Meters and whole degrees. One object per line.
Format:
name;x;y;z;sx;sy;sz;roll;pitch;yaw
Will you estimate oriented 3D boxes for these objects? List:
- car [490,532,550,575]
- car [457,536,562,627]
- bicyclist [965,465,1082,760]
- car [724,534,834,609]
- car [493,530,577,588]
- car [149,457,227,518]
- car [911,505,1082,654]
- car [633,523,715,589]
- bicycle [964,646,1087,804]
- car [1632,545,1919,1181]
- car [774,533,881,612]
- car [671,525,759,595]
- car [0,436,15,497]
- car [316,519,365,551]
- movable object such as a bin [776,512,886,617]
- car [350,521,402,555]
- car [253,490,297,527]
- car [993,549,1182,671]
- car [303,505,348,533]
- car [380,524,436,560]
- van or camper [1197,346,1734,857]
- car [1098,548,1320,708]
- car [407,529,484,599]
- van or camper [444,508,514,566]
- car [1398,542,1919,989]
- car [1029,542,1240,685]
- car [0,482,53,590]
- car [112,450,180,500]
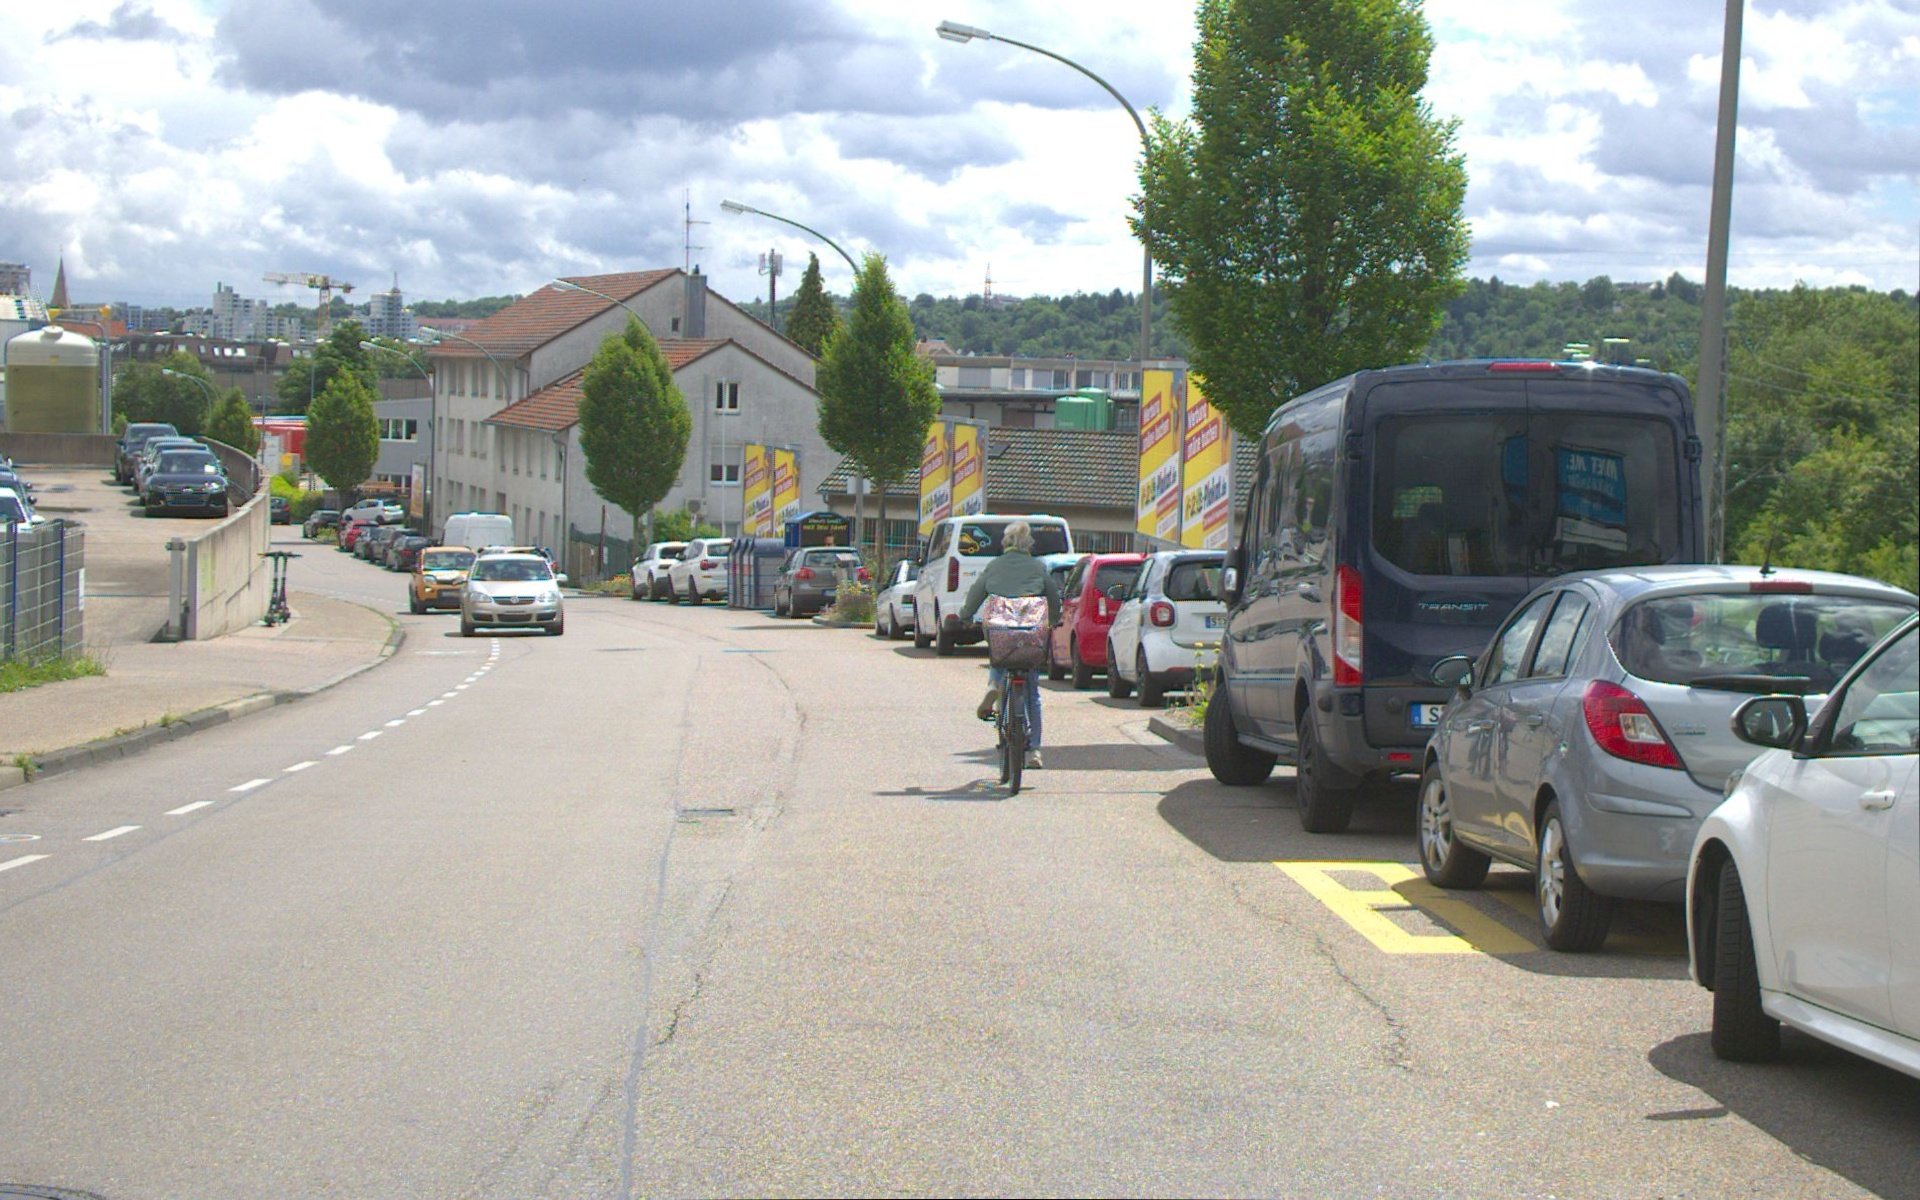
car;-15.695;-1.671;122.580;1.993;1.459;4.001;-1;1;-9
car;-8.070;-0.355;61.354;1.702;1.556;4.329;0;1;-10
bicyclist;0.395;0.067;21.800;0.684;1.819;1.080;-1;1;-1
car;-4.307;-0.700;81.259;2.134;1.700;4.001;-1;1;-10
car;-12.103;-1.184;97.798;1.993;1.612;4.001;-1;1;-12
car;-17.378;-2.547;77.389;1.669;1.319;3.720;0;3;-13
car;0.471;-0.324;49.937;1.993;2.007;4.919;2;1;-5
car;-7.686;-1.185;92.141;1.842;1.700;4.001;-1;1;-10
bicycle;0.397;0.769;21.749;0.687;0.875;2.102;-1;1;-1
car;3.125;0.656;9.025;1.705;1.474;3.958;2;2;-3
car;-2.820;-0.602;72.483;1.993;1.612;4.001;-1;1;-6
car;-6.195;-1.019;86.610;1.813;1.700;4.001;-1;1;-10
car;-22.167;-2.990;77.463;1.669;1.319;3.719;-1;1;-15
car;-29.004;-3.048;160.920;1.993;1.459;4.001;-1;1;-14
movable object such as a bin;-2.908;-0.816;77.150;2.134;2.295;2.558;-1;1;-10
car;-26.253;-2.787;154.495;1.993;1.459;4.001;-1;1;-14
car;-40.385;-5.388;202.622;1.993;2.007;4.002;3;1;-18
car;1.563;0.088;43.304;1.903;1.437;3.545;-1;1;-6
car;-32.609;-4.148;176.557;1.993;1.415;4.001;-1;1;-15
car;-23.049;-2.426;143.420;1.993;1.459;4.001;-1;1;-14
van or camper;2.788;-0.048;20.518;2.124;2.576;5.918;1;1;-2
car;2.437;0.244;34.248;1.793;1.501;2.907;-1;1;-4
car;-11.974;-0.855;79.970;1.708;1.568;4.001;-1;1;-9
van or camper;-17.828;-2.345;127.282;1.993;2.007;4.002;3;1;-15
car;2.974;0.573;14.143;1.705;1.505;3.697;2;2;-2
car;1.909;0.111;38.849;1.875;1.503;4.001;-1;1;-4
car;-15.436;-1.016;54.779;1.846;1.645;4.001;-1;1;-15
car;-22.421;-3.443;94.594;1.669;1.319;3.720;-1;3;-15
